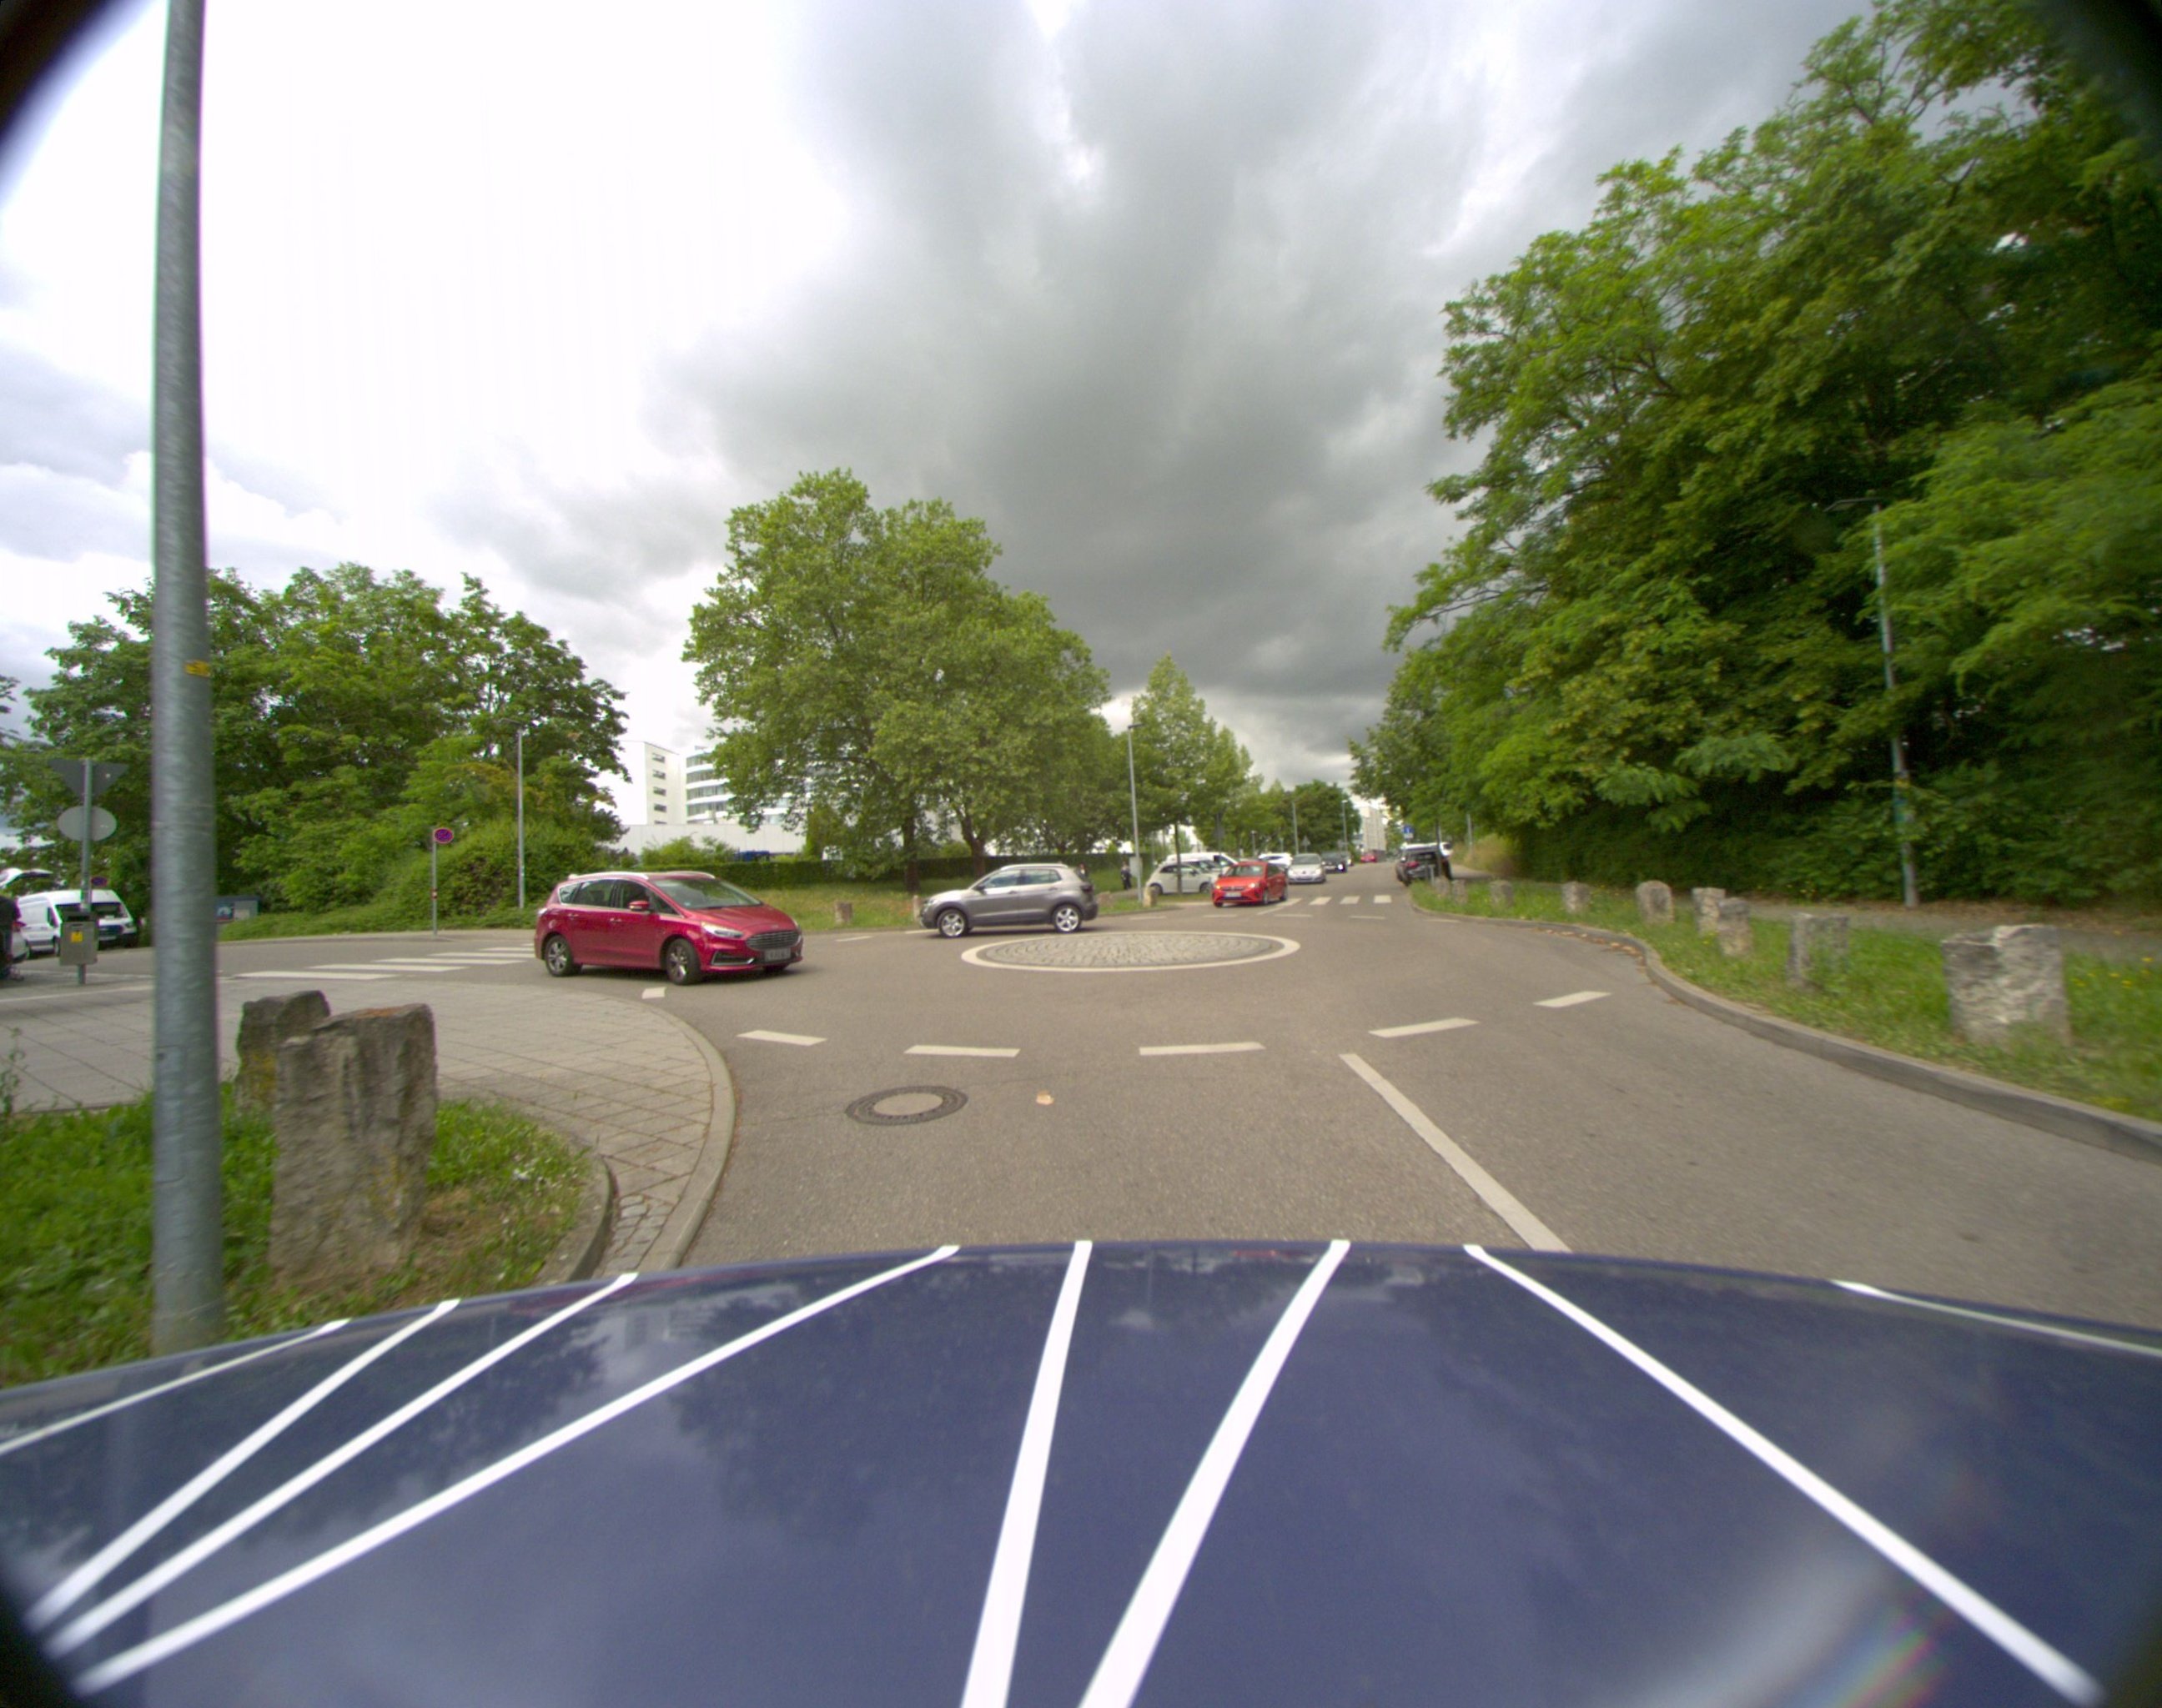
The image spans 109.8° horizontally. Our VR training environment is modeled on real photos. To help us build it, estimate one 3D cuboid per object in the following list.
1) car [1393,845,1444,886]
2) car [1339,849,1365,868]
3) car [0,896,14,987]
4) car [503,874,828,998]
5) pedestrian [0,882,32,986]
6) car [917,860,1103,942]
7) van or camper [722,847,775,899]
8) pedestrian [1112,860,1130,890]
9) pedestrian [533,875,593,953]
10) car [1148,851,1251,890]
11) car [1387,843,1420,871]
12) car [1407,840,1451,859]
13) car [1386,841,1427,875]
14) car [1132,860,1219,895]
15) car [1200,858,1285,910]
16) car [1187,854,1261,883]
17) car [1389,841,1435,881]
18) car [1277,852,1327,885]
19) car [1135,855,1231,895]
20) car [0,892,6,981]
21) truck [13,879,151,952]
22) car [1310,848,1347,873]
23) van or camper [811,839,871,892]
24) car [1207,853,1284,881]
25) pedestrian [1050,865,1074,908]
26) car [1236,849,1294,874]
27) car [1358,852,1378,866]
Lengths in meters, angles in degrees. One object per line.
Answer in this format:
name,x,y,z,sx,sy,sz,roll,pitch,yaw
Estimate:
car,14.198,0.437,32.132,1.692,1.456,4.463,-7,-2,22
car,25.480,0.392,71.398,1.756,1.607,4.007,-4,-1,27
car,-18.977,1.506,11.225,1.501,1.467,3.532,-5,-1,29
car,-6.540,1.194,12.029,4.526,1.635,1.983,-1,0,20
pedestrian,-19.101,1.428,13.461,0.582,1.801,0.485,-4,-1,30
car,-1.589,1.027,17.560,4.007,1.608,1.722,-3,0,-3
van or camper,-19.610,1.141,44.737,2.118,2.781,4.471,-4,-1,-31
pedestrian,2.074,1.102,39.402,0.677,1.510,0.707,-4,-1,20
pedestrian,-11.613,1.331,17.036,0.613,1.655,0.842,-5,-1,33
car,6.033,0.851,38.768,4.778,1.821,1.846,-2,0,25
car,20.401,0.175,48.233,1.692,1.502,4.237,-7,-2,22
car,35.812,-0.462,78.290,1.674,1.630,3.994,-4,-1,-23
car,18.245,0.207,42.740,1.809,1.654,4.443,-7,-2,22
car,4.244,1.059,34.171,3.515,1.453,1.741,-2,0,22
car,5.563,0.969,25.870,1.756,1.506,4.007,-5,-1,27
car,8.262,0.829,43.831,3.828,1.511,1.914,-2,0,21
car,16.171,0.300,37.268,1.801,1.606,4.484,-7,-1,22
car,11.816,0.747,40.513,1.756,1.506,4.007,-5,-1,27
car,4.885,0.984,36.273,4.155,1.592,1.741,-4,-1,21
car,-21.715,1.582,12.904,1.569,1.649,3.784,-2,0,29
truck,-40.545,2.509,30.816,5.795,2.591,2.071,-5,-1,25
car,17.692,0.459,54.188,1.756,1.607,4.007,-4,-1,27
van or camper,-13.946,0.719,43.963,2.118,2.781,4.471,-4,-1,-31
car,10.620,0.840,49.009,4.580,1.483,1.954,-3,0,19
pedestrian,-0.751,1.306,30.664,0.689,1.647,0.601,-4,-1,21
car,12.983,0.523,53.655,3.673,1.637,1.855,-2,0,24
car,35.810,0.589,94.752,1.756,1.607,4.007,-4,-1,27
